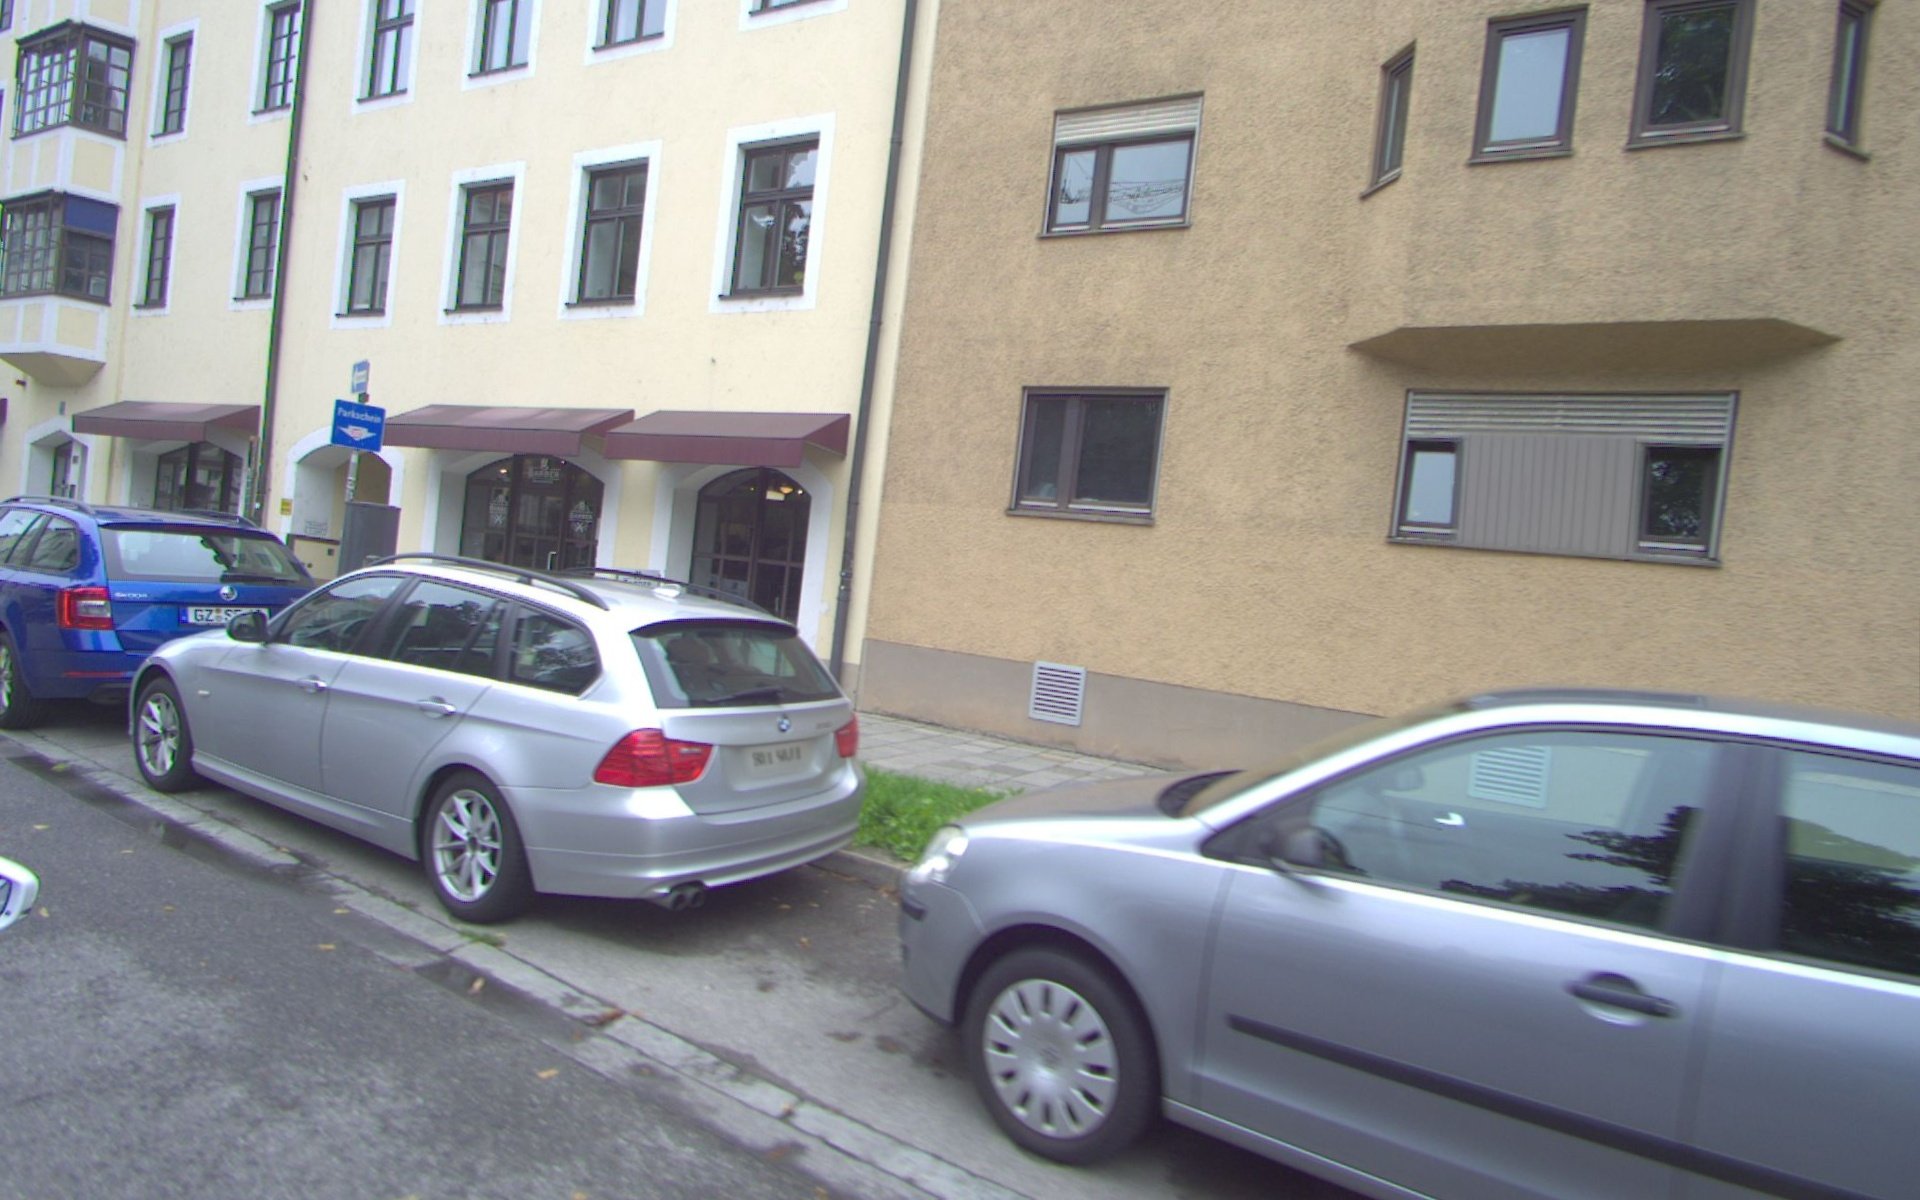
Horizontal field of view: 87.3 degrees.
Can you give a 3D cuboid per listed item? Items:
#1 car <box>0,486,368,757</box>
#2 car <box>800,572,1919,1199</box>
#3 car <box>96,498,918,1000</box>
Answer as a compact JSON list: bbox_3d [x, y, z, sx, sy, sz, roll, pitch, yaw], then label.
[{"bbox_3d":[-6.636,-0.034,7.645,4.413,1.516,1.757,7,2,31],"label":"car"},{"bbox_3d":[1.564,0.884,2.865,3.724,1.516,1.629,7,2,31],"label":"car"},{"bbox_3d":[-2.556,0.433,5.274,4.360,1.516,1.691,7,2,31],"label":"car"}]
